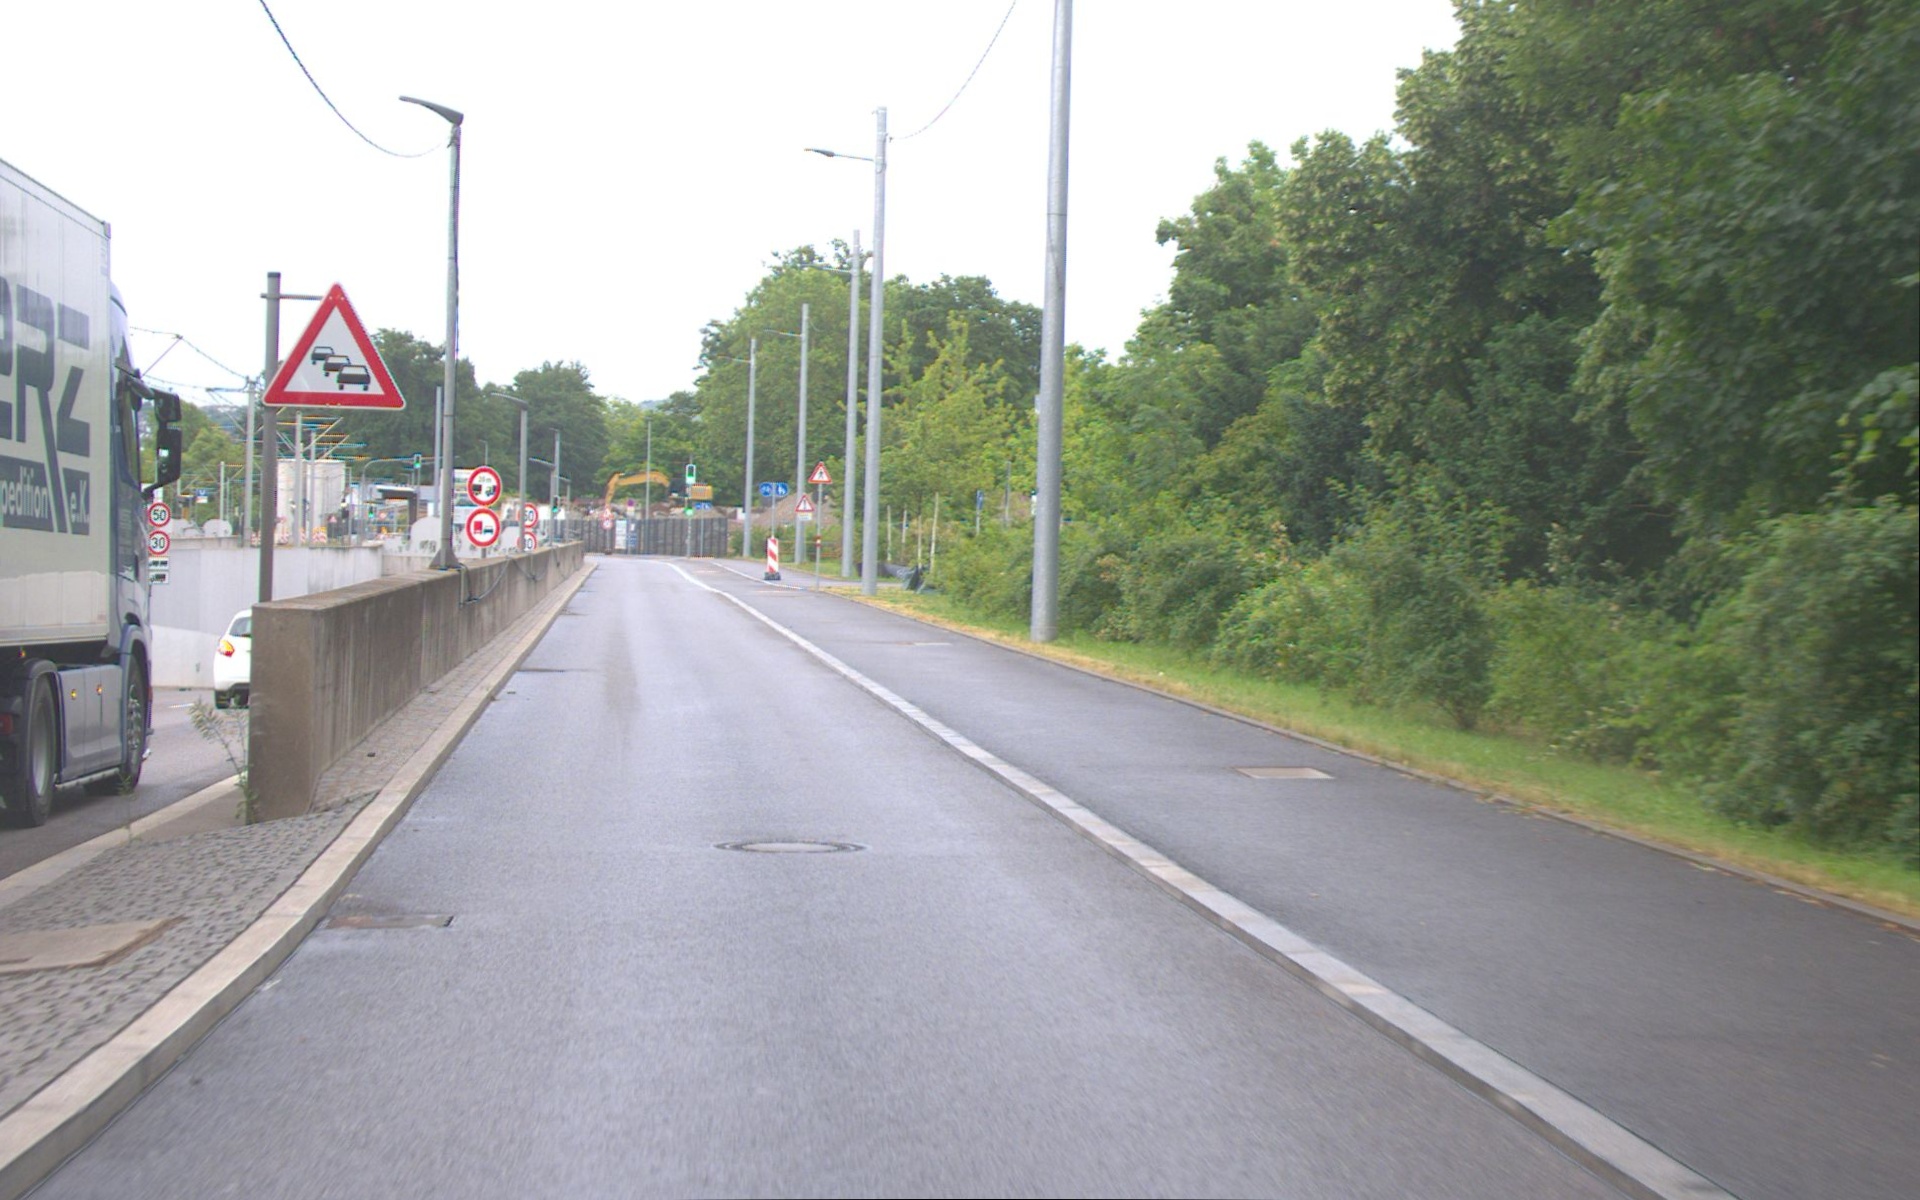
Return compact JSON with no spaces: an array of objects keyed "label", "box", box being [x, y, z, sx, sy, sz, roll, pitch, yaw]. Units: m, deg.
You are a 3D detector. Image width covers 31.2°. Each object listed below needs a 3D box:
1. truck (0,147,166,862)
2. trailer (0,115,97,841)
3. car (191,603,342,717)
[{"label":"truck","box":[-7.178,-0.627,22.728,2.755,4.190,6.307,0,1,-4]},{"label":"trailer","box":[-6.724,-0.626,16.501,2.762,4.238,13.186,0,1,-4]},{"label":"car","box":[-10.328,0.864,51.413,1.809,1.419,4.001,1,3,-6]}]
